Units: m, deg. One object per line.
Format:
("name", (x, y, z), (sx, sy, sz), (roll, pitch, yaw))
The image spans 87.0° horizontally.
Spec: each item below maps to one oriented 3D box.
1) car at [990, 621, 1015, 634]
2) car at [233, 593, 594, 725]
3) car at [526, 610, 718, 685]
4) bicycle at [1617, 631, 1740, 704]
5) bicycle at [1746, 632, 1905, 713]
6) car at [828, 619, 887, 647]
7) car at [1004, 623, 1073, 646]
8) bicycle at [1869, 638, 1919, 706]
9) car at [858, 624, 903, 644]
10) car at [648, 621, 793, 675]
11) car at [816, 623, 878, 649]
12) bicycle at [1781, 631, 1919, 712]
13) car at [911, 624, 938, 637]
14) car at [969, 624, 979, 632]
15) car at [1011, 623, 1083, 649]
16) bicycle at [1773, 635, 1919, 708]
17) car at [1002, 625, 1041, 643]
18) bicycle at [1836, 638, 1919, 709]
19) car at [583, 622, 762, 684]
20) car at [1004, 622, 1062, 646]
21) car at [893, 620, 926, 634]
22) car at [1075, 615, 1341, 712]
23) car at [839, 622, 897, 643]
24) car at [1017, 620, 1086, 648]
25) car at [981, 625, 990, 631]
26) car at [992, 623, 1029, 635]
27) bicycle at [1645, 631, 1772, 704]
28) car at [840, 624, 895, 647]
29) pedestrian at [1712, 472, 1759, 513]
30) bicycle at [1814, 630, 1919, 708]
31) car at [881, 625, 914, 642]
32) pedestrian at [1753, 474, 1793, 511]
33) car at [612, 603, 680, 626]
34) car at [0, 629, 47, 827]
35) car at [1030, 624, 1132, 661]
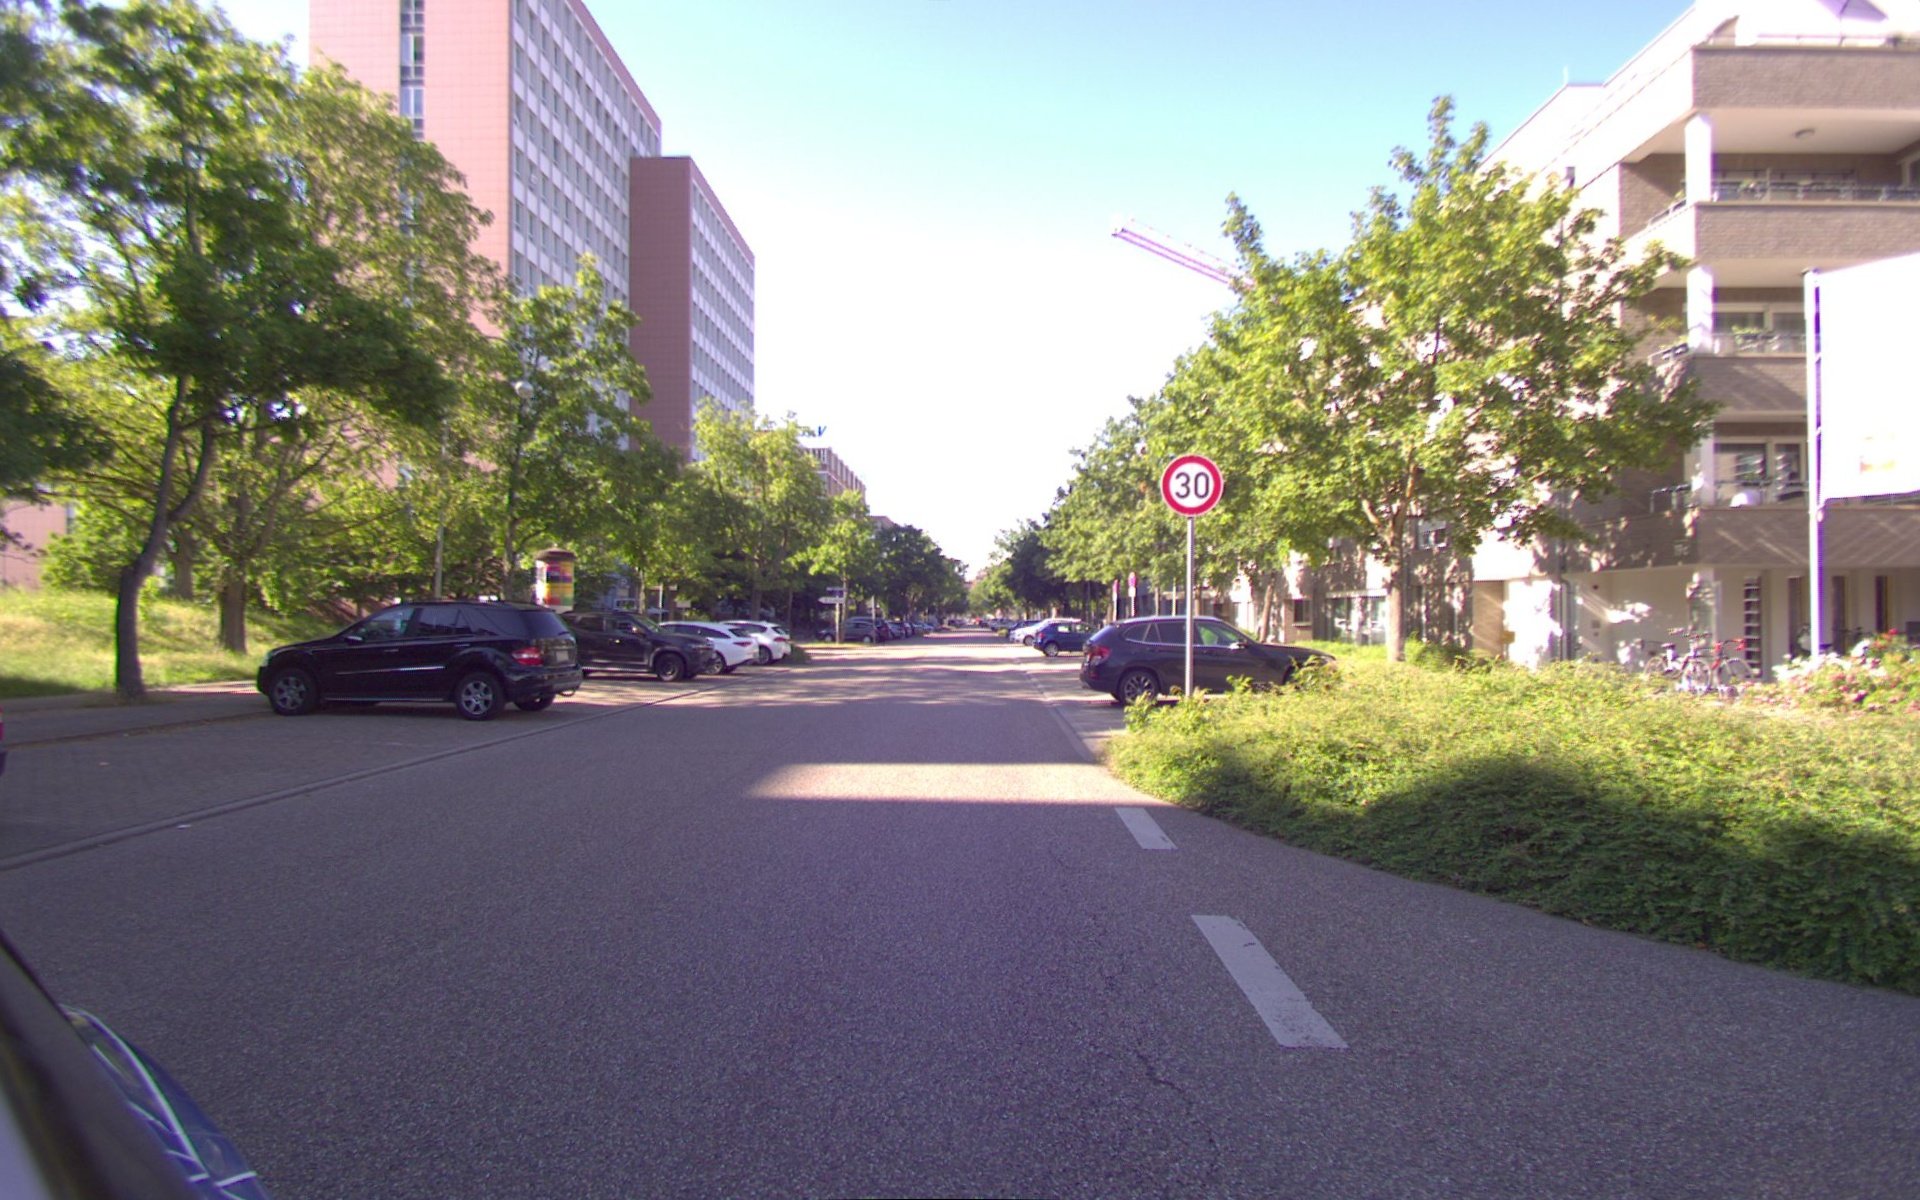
("car", (6.767, 4.402, 162.276), (3.944, 2.123, 2.000), (-1, -1, 0))
("car", (-8.357, 0.872, 15.778), (4.540, 1.792, 1.998), (1, -1, 3))
("car", (-8.110, 1.124, 24.531), (4.074, 1.630, 1.733), (2, 0, 0))
("bicycle", (11.446, 1.044, 16.223), (0.432, 1.055, 2.192), (-1, -1, 2))
("bicycle", (12.462, 1.007, 14.668), (0.432, 1.055, 2.192), (-1, -1, 2))
("car", (-6.865, 2.190, 67.970), (3.637, 1.764, 1.722), (1, -1, 5))
("car", (5.373, 2.359, 69.289), (4.457, 1.462, 1.942), (-2, -2, -2))
("bicycle", (15.412, 1.146, 15.832), (0.432, 1.055, 2.192), (-1, -1, 2))
("car", (-6.467, 2.786, 82.696), (3.535, 1.518, 1.724), (1, -1, 1))
("car", (-7.961, 1.574, 33.907), (4.378, 1.605, 1.837), (2, -1, 0))
("car", (-7.291, 2.340, 65.474), (3.793, 1.458, 1.592), (3, -3, 0))
("bicycle", (12.975, 0.987, 14.636), (0.432, 1.055, 2.192), (-1, -1, 2))
("car", (-5.231, 4.417, 148.363), (3.941, 1.797, 1.954), (-1, -1, -2))
("car", (3.095, 6.170, 223.632), (1.928, 1.639, 3.994), (1, -1, 4))
("car", (5.217, 2.183, 61.164), (4.213, 1.491, 1.799), (0, -2, 1))
("bicycle", (14.077, 1.101, 16.167), (0.432, 1.055, 2.192), (-1, -1, 2))
("car", (5.677, 3.151, 94.074), (3.492, 1.518, 1.646), (-1, -1, 1))
("bicycle", (14.882, 1.144, 15.857), (0.432, 1.055, 2.192), (-1, -1, 2))
("car", (-7.794, 1.430, 27.724), (4.393, 1.557, 1.817), (-1, -1, 0))
("car", (5.181, 2.442, 72.281), (4.072, 1.632, 1.801), (-1, -2, 4))
("car", (-6.441, 3.500, 130.197), (4.108, 1.719, 2.000), (-1, -1, 0))
("car", (4.144, 1.067, 17.484), (4.150, 1.531, 1.770), (-1, -1, 3))
("car", (-7.243, 2.588, 79.926), (4.373, 1.565, 1.859), (1, -1, 1))
("car", (5.759, 2.143, 64.166), (4.182, 1.614, 1.951), (-2, -1, 3))
("car", (5.831, 6.296, 229.510), (1.745, 1.383, 3.994), (0, -1, 4))
("car", (7.082, 4.135, 142.873), (5.188, 1.637, 1.951), (-1, -1, 4))
("bicycle", (11.923, 1.038, 16.210), (0.432, 1.055, 2.192), (-1, -1, 2))
("car", (-6.539, 2.502, 71.783), (3.826, 1.577, 1.810), (1, -1, -3))
("pedestrian", (15.940, -2.210, 20.796), (0.673, 0.804, 0.363), (-1, -1, -5))
("bicycle", (13.463, 0.969, 14.598), (0.432, 1.055, 2.192), (-1, -1, 2))
("car", (-6.200, 3.278, 100.037), (3.017, 1.617, 1.602), (1, -1, 5))
("pedestrian", (16.304, -2.162, 20.302), (0.410, 0.691, 0.428), (-1, -1, -7))
("car", (-23.984, 1.126, 77.383), (4.663, 1.699, 1.876), (0, -2, -2))
("car", (-8.787, 0.814, 6.639), (3.945, 1.397, 1.821), (3, -1, 1))
("car", (5.015, 1.753, 42.297), (3.942, 1.422, 1.818), (-1, -1, -1))
